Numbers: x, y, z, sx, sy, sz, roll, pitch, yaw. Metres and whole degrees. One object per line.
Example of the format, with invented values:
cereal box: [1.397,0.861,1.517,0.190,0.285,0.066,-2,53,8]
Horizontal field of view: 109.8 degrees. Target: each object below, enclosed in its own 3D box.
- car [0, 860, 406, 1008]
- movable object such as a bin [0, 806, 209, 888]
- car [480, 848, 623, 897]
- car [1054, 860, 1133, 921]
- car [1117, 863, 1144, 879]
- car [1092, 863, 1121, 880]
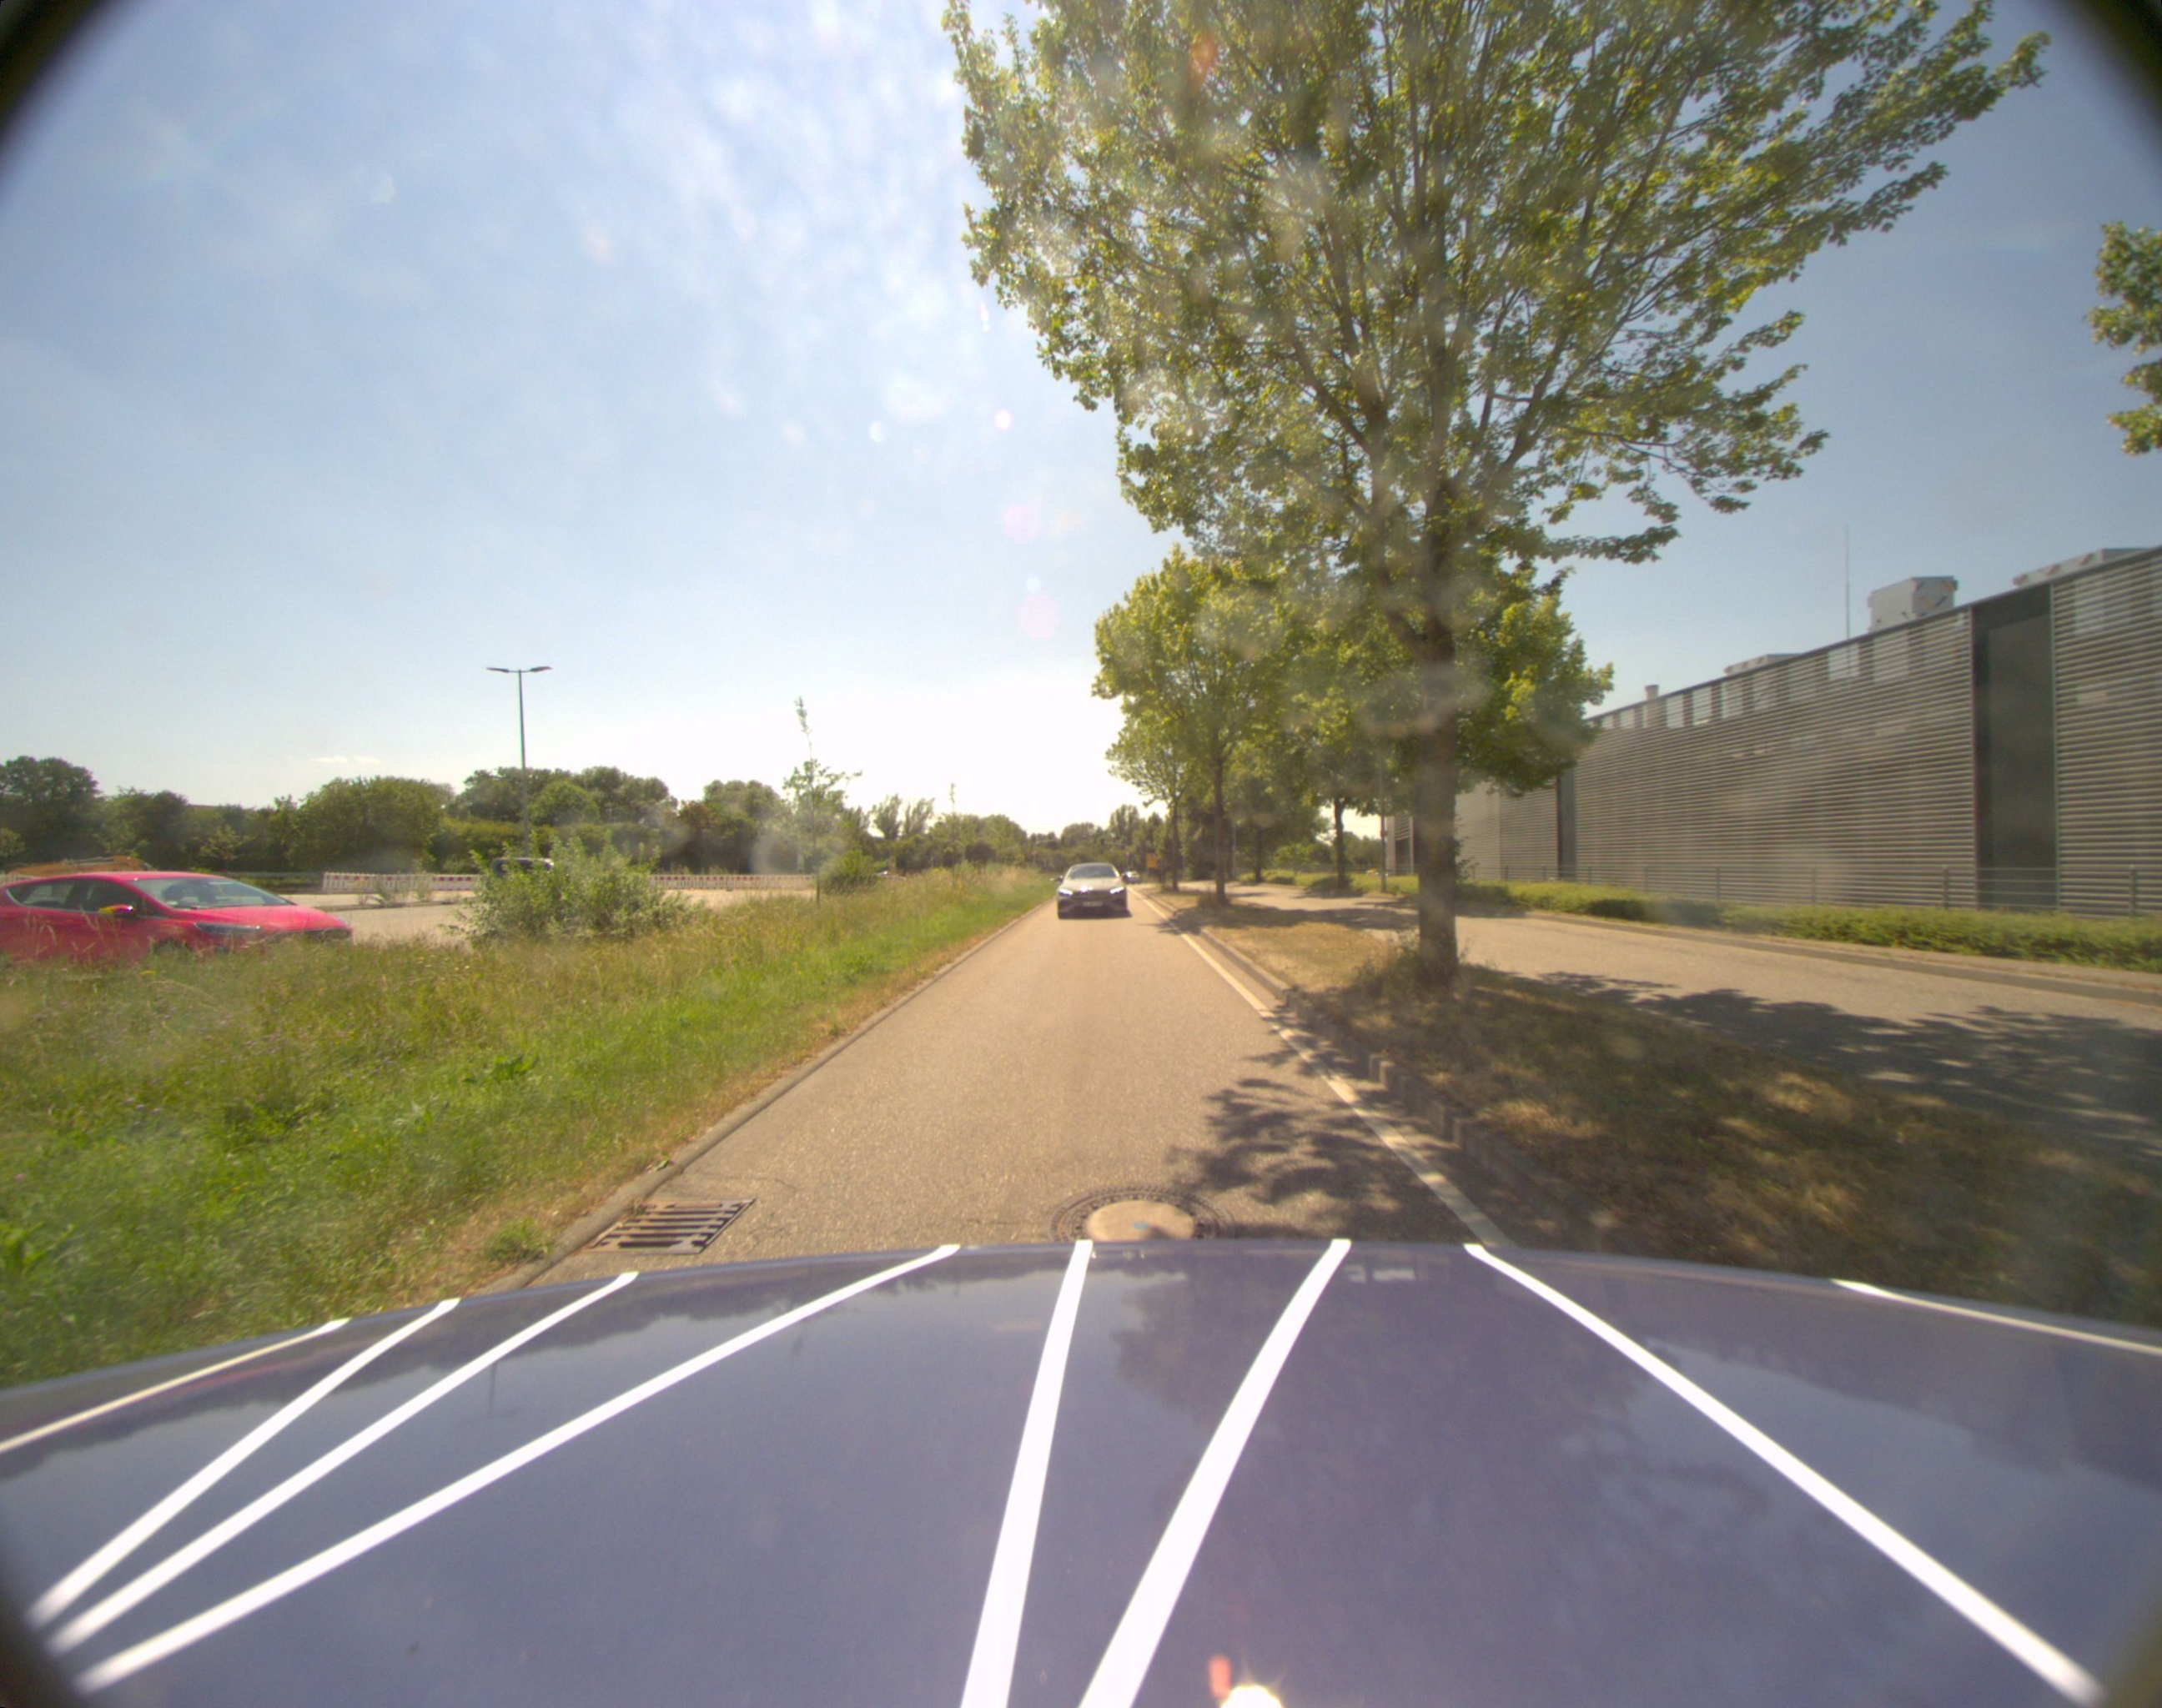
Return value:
car: [-11.726,0.957,9.988,3.996,1.714,1.927,0,1,2]
movable object such as a bin: [-53.040,-0.270,40.390,8.121,4.019,2.981,3,-3,-33]
car: [-21.720,0.768,31.293,4.474,1.903,1.940,1,-1,0]
car: [0.250,0.975,21.495,1.922,1.433,4.482,-3,-1,-2]
car: [5.977,2.057,91.951,2.001,1.697,3.859,-4,1,-16]
car: [3.042,2.074,91.314,2.001,1.932,4.864,-4,1,-16]
